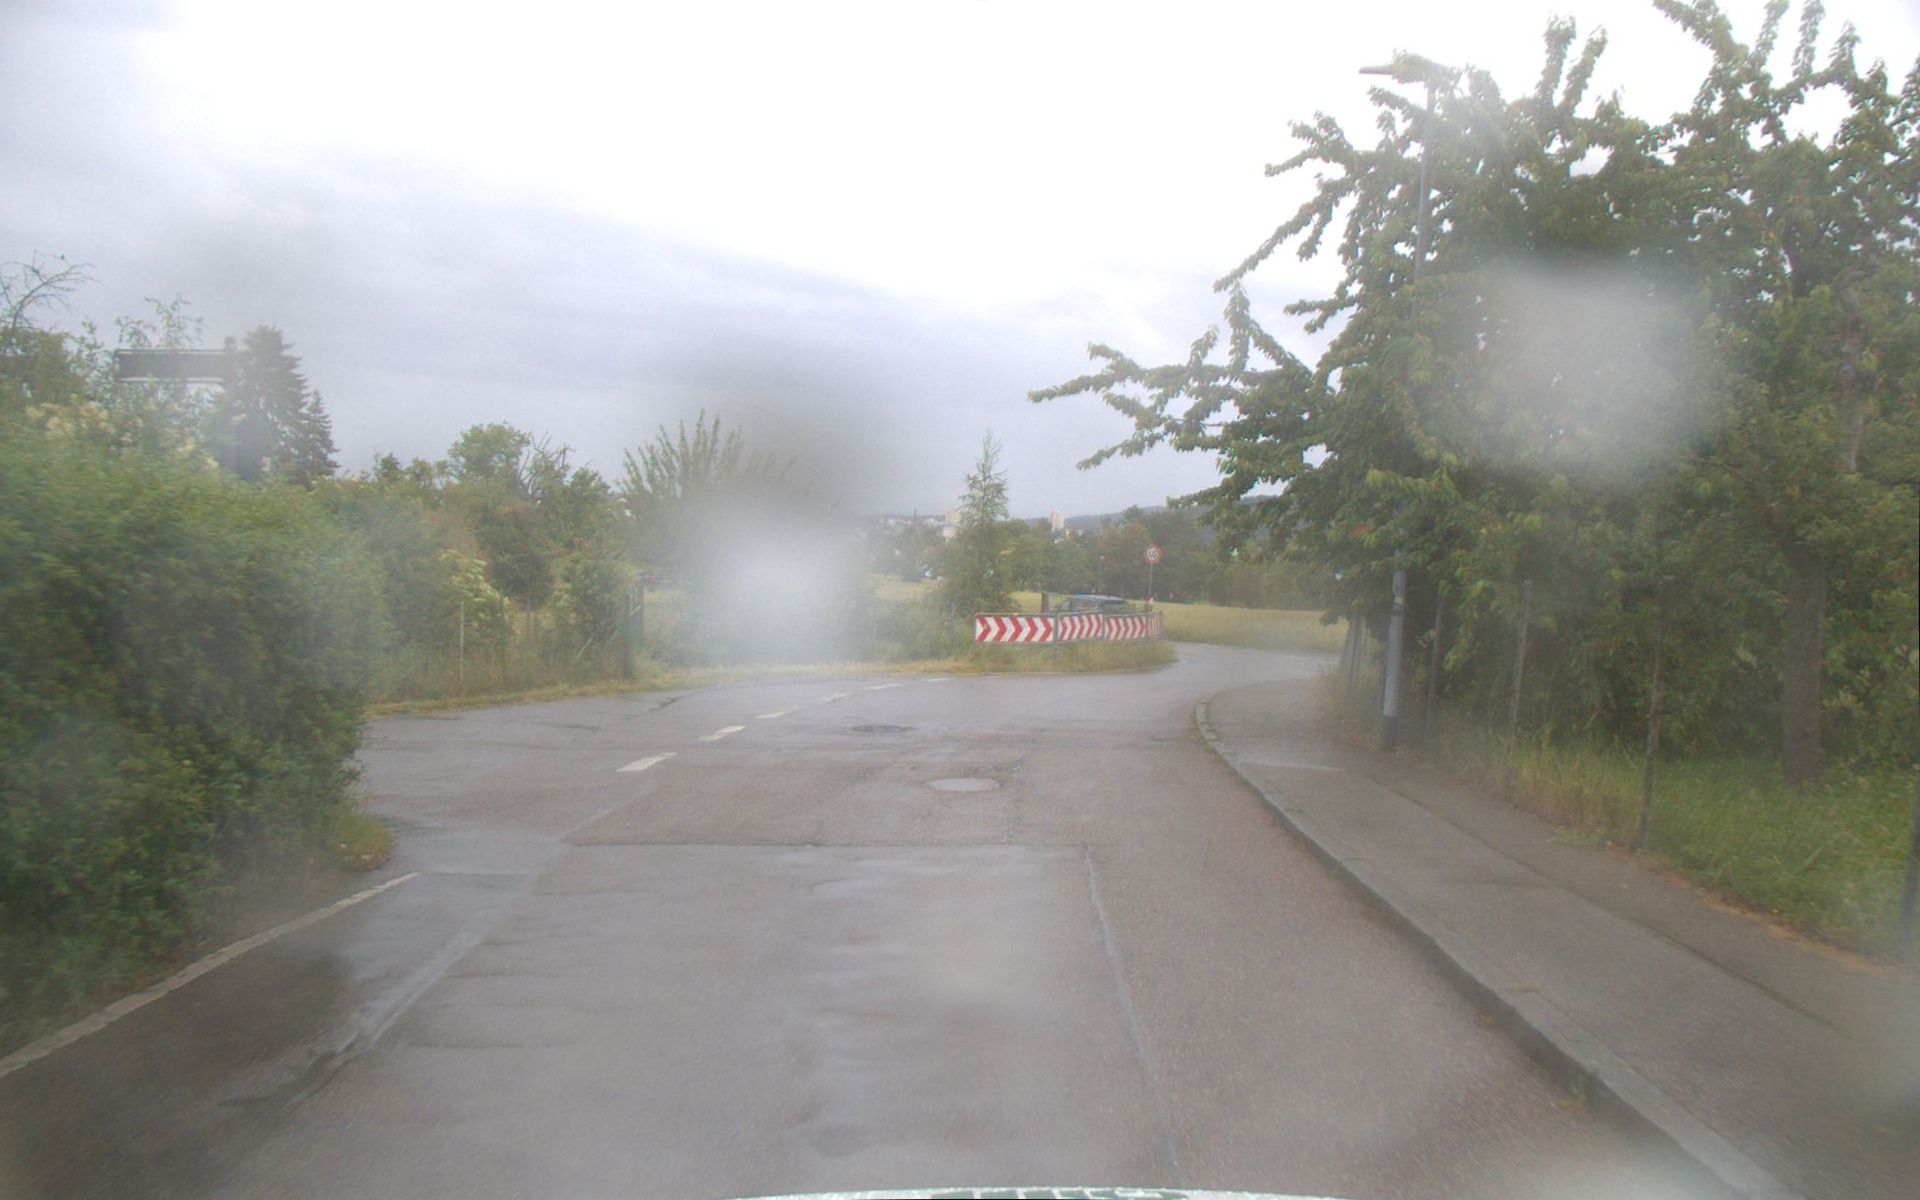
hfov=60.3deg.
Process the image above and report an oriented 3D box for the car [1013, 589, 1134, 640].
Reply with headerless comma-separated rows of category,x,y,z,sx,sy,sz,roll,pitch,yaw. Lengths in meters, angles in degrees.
car,3.905,0.500,57.276,3.932,1.621,1.808,2,0,44
